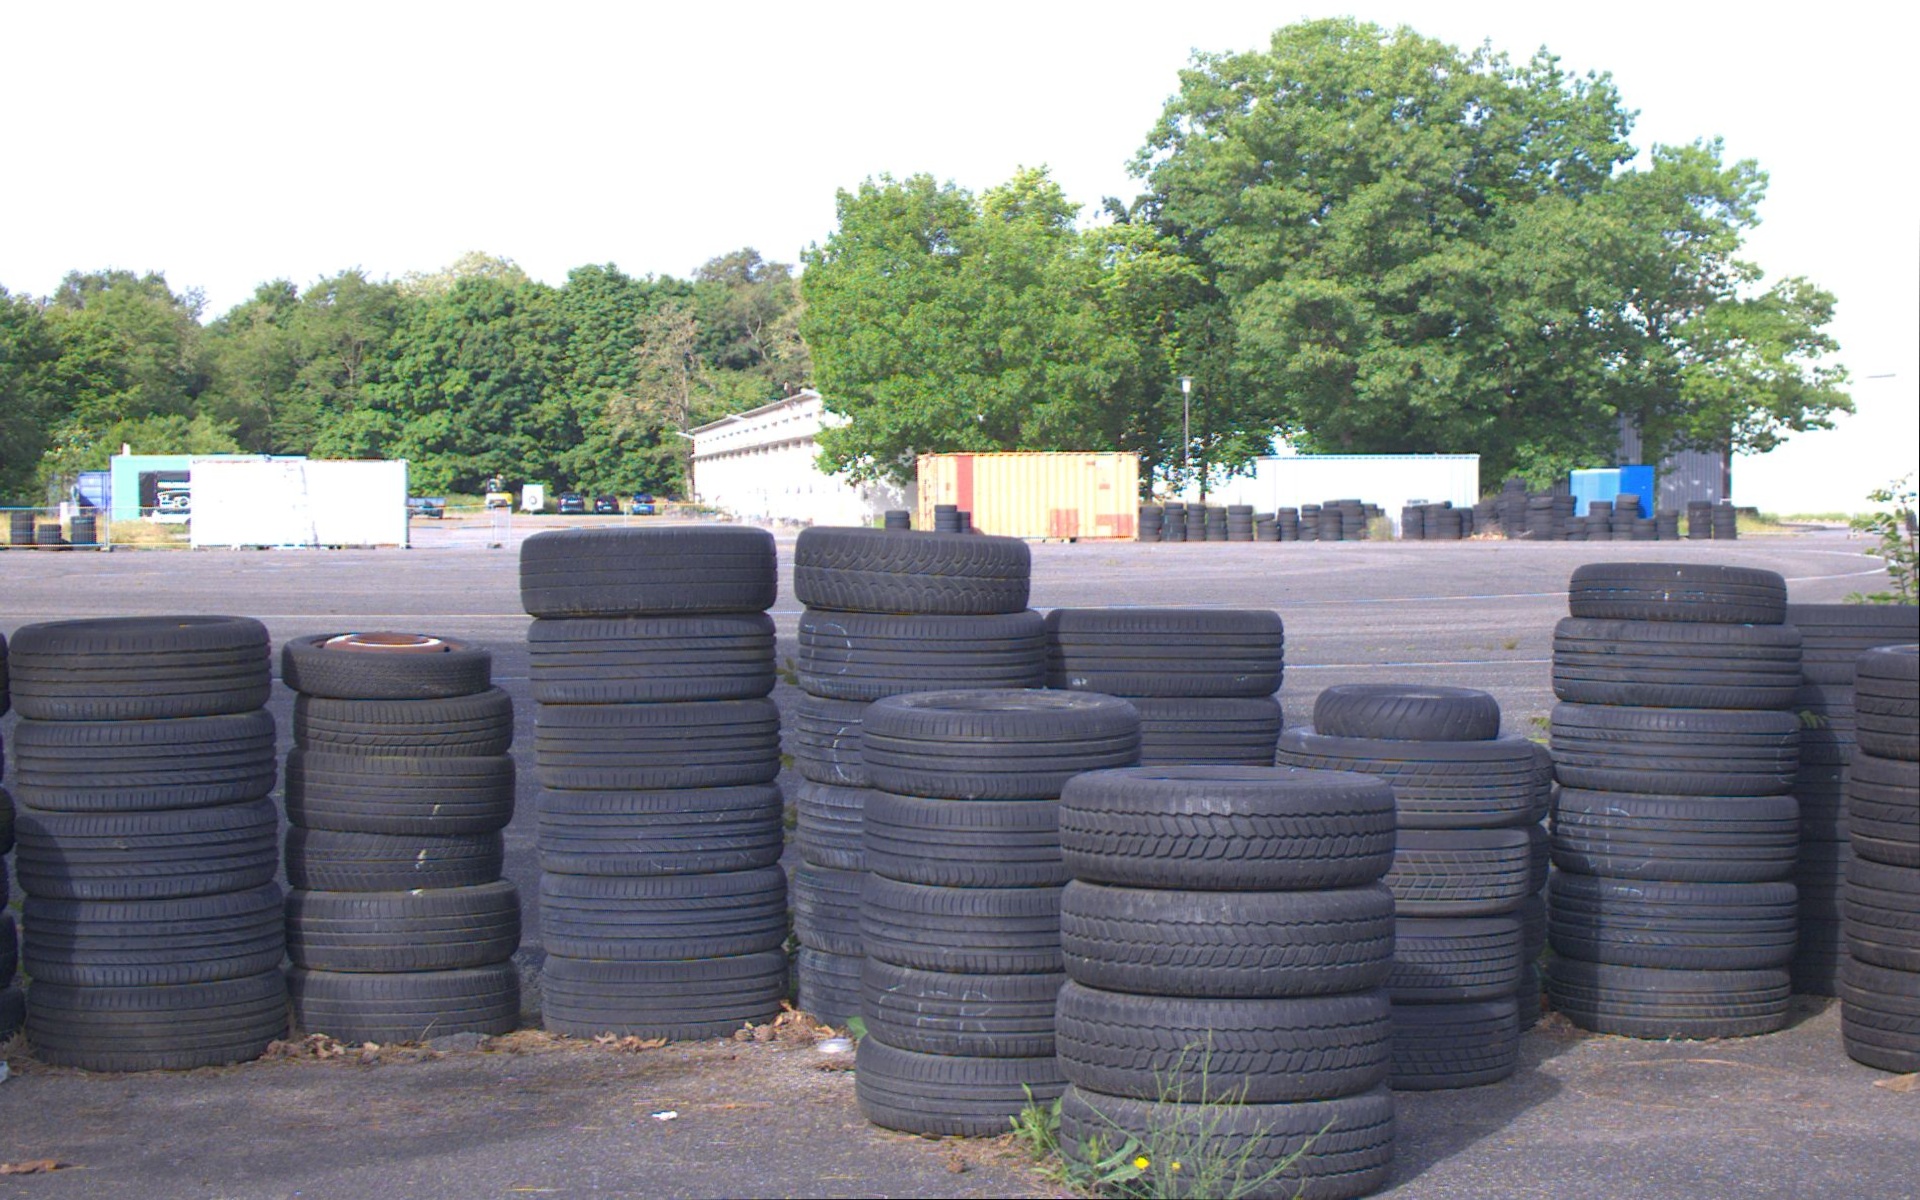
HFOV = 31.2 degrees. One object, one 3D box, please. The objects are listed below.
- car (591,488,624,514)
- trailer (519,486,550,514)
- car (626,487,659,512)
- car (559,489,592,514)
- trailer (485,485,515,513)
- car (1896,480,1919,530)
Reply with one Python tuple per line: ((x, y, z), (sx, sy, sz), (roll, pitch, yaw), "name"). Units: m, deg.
((-25.325, -7.099, 246.703), (2.031, 1.802, 4.001), (-1, 2, -11), "car")
((-30.620, -7.206, 247.413), (2.057, 2.006, 4.001), (0, 2, -9), "trailer")
((-22.812, -7.215, 247.061), (1.993, 1.744, 4.001), (0, 2, -11), "car")
((-27.544, -7.044, 246.198), (1.993, 1.744, 4.001), (0, 2, -11), "car")
((-33.255, -7.276, 248.387), (1.993, 2.006, 4.001), (0, 2, -10), "trailer")
((31.159, -2.973, 107.462), (1.868, 1.559, 4.549), (-1, 2, -10), "car")
